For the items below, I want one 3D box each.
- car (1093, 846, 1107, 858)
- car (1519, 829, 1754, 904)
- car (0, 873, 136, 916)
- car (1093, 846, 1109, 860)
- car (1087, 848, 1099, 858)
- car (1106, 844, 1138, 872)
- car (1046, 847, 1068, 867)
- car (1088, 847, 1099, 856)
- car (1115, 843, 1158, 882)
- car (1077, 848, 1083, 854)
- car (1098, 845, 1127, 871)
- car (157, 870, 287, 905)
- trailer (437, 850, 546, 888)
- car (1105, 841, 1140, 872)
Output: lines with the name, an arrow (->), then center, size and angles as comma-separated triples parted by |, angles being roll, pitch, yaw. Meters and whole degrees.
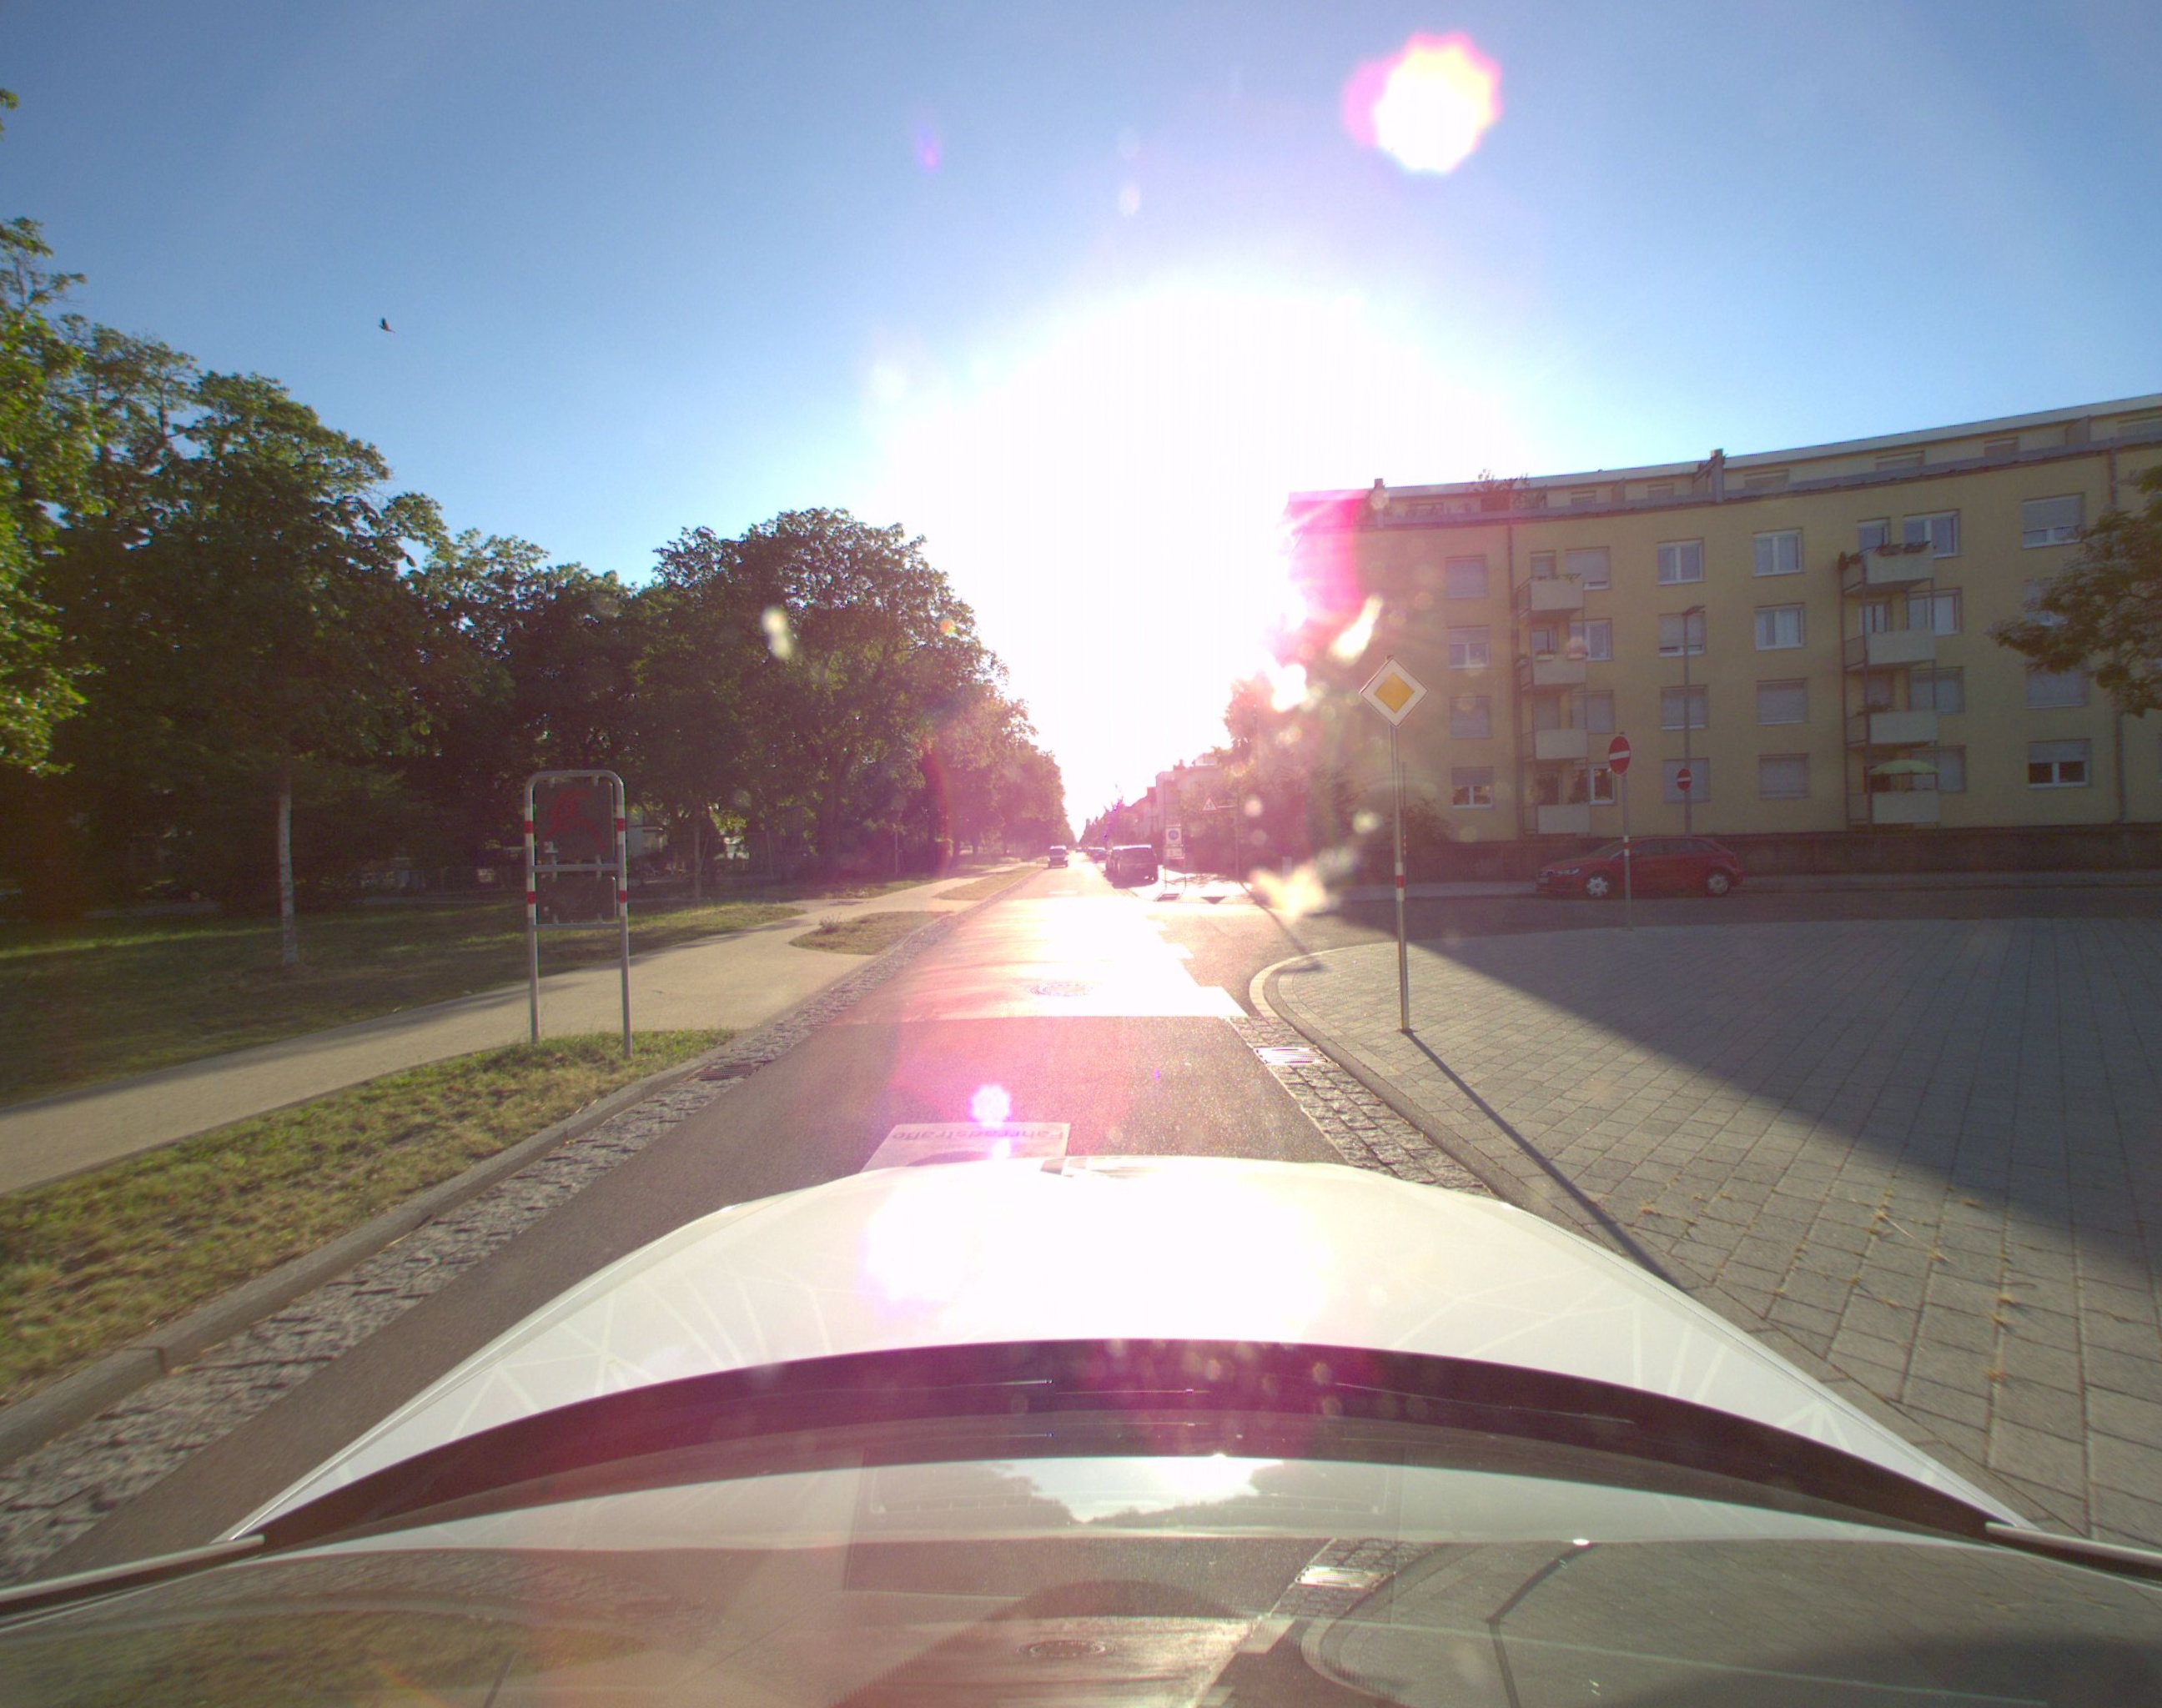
car -> 2.418, -0.300, 103.984 | 1.621, 1.409, 4.248 | -3, 0, 0
car -> 13.077, 0.284, 19.422 | 4.176, 1.530, 2.002 | -3, 0, 4
car -> -42.551, 1.652, 33.712 | 1.987, 1.508, 4.116 | -3, 0, 1
car -> 2.220, -0.104, 92.186 | 1.621, 1.409, 4.248 | -3, 0, 0
car -> 1.826, -0.221, 123.686 | 1.621, 1.409, 4.248 | -3, 0, 0
car -> 2.751, 0.243, 54.701 | 1.985, 1.717, 4.003 | -3, 0, 3
car -> -2.131, 0.287, 73.116 | 1.820, 1.669, 4.248 | -3, 0, 0
car -> 2.160, -0.376, 140.121 | 1.621, 1.409, 4.248 | -3, 0, 0
car -> 2.587, 0.377, 38.725 | 1.621, 1.669, 4.248 | -3, 0, 0
car -> -0.267, -0.937, 238.598 | 1.621, 1.669, 4.248 | -3, 0, 0
car -> 2.334, 0.275, 59.561 | 1.985, 1.717, 4.003 | -3, 0, 3
car -> -42.523, 1.619, 40.452 | 1.987, 1.508, 4.116 | -3, 0, 1
trailer -> -41.997, 0.990, 58.325 | 2.451, 2.488, 7.050 | -3, 0, 1
car -> 2.559, 0.141, 49.859 | 1.985, 1.717, 4.003 | -3, 0, 3
